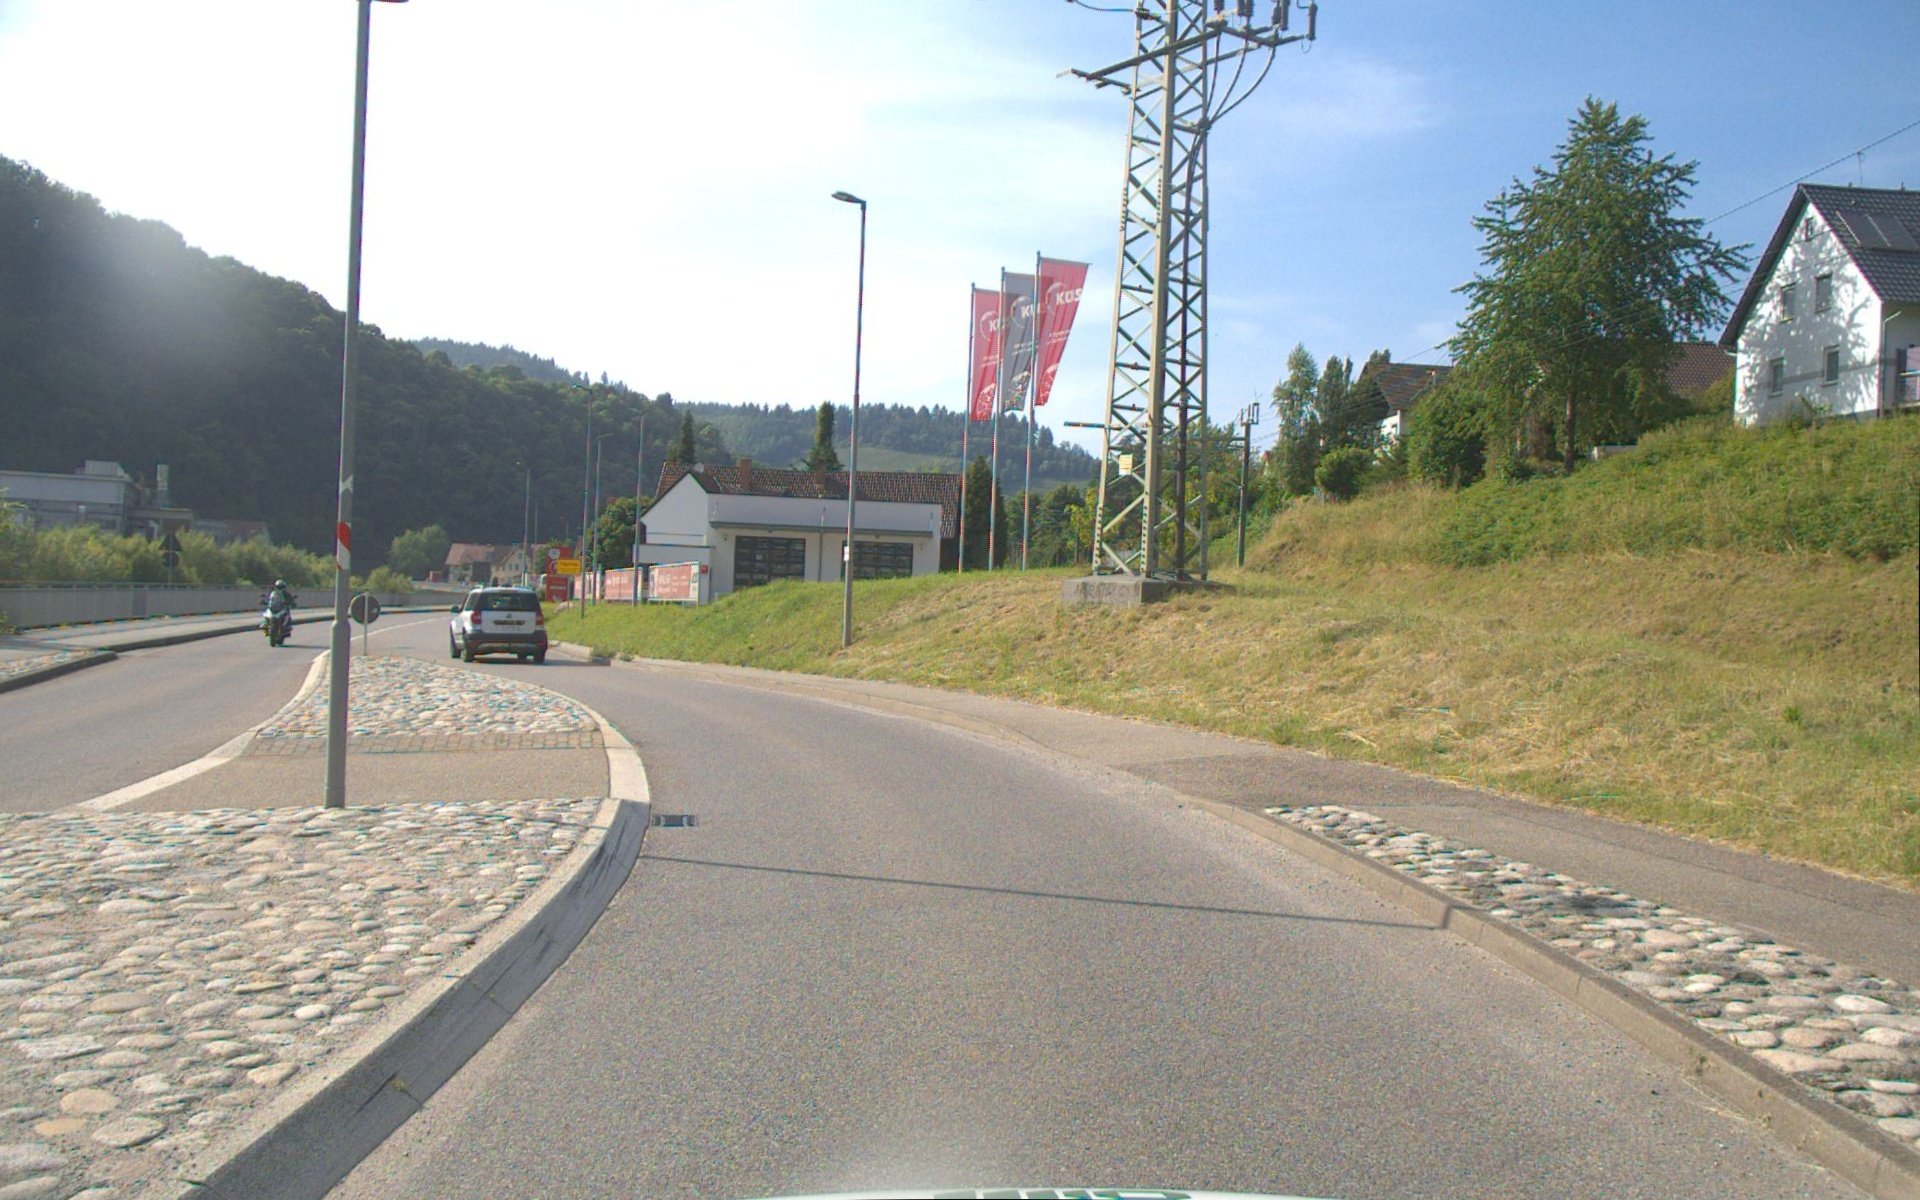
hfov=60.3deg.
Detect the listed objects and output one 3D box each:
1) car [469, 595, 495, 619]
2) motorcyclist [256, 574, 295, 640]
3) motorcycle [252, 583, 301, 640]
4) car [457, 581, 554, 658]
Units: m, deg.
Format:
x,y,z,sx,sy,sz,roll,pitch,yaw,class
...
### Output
x,y,z,sx,sy,sz,roll,pitch,yaw,class
-42.429,0.649,146.835,1.887,2.002,5.127,1,-1,-14,car
-17.933,0.198,43.343,0.749,1.707,0.725,1,-1,-11,motorcyclist
-17.931,0.286,43.436,0.759,1.447,2.311,1,0,-12,motorcycle
-10.406,0.428,37.671,1.833,1.571,4.349,3,-1,-19,car
